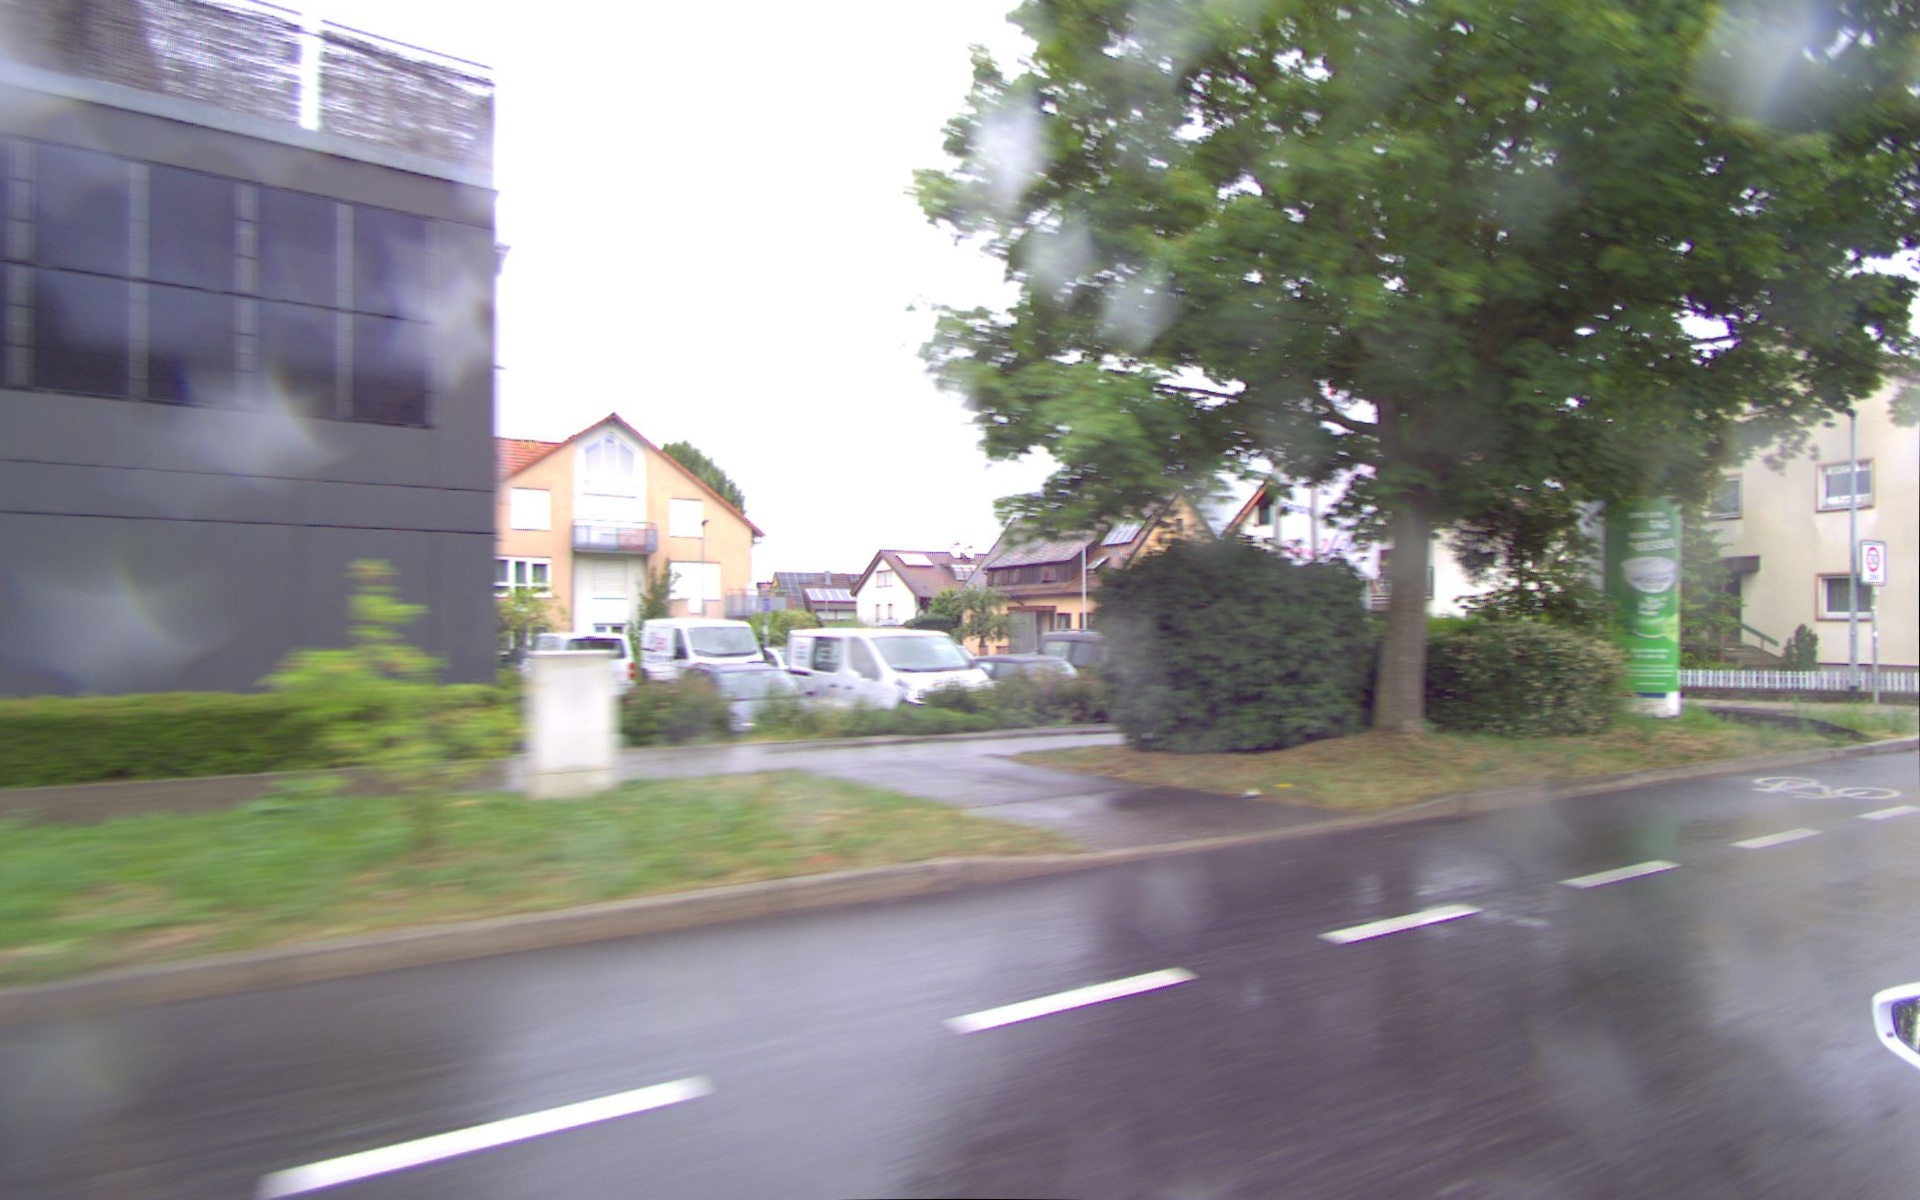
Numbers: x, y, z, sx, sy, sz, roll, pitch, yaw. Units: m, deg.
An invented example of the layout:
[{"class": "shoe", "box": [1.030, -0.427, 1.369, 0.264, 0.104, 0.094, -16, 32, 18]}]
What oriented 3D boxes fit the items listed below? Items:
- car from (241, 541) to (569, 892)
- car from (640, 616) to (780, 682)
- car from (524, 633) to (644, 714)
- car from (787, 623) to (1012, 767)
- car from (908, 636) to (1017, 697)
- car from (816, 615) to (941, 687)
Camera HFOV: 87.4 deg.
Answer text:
[{"class": "car", "box": [-3.205, 0.579, 5.815, 1.239, 1.474, 2.894, 3, -4, -31]}, {"class": "car", "box": [-6.735, 1.304, 26.706, 2.158, 1.588, 4.521, 2, -4, -35]}, {"class": "car", "box": [-9.408, 1.768, 24.928, 2.023, 1.814, 4.528, 2, -3, -30]}, {"class": "car", "box": [-1.204, 1.495, 17.667, 2.130, 2.041, 4.372, -1, 1, -32]}, {"class": "car", "box": [-0.006, 1.967, 30.694, 1.726, 1.513, 3.935, -1, 1, -27]}, {"class": "car", "box": [-2.504, 1.397, 29.367, 1.856, 1.793, 5.041, -1, 1, -27]}]
